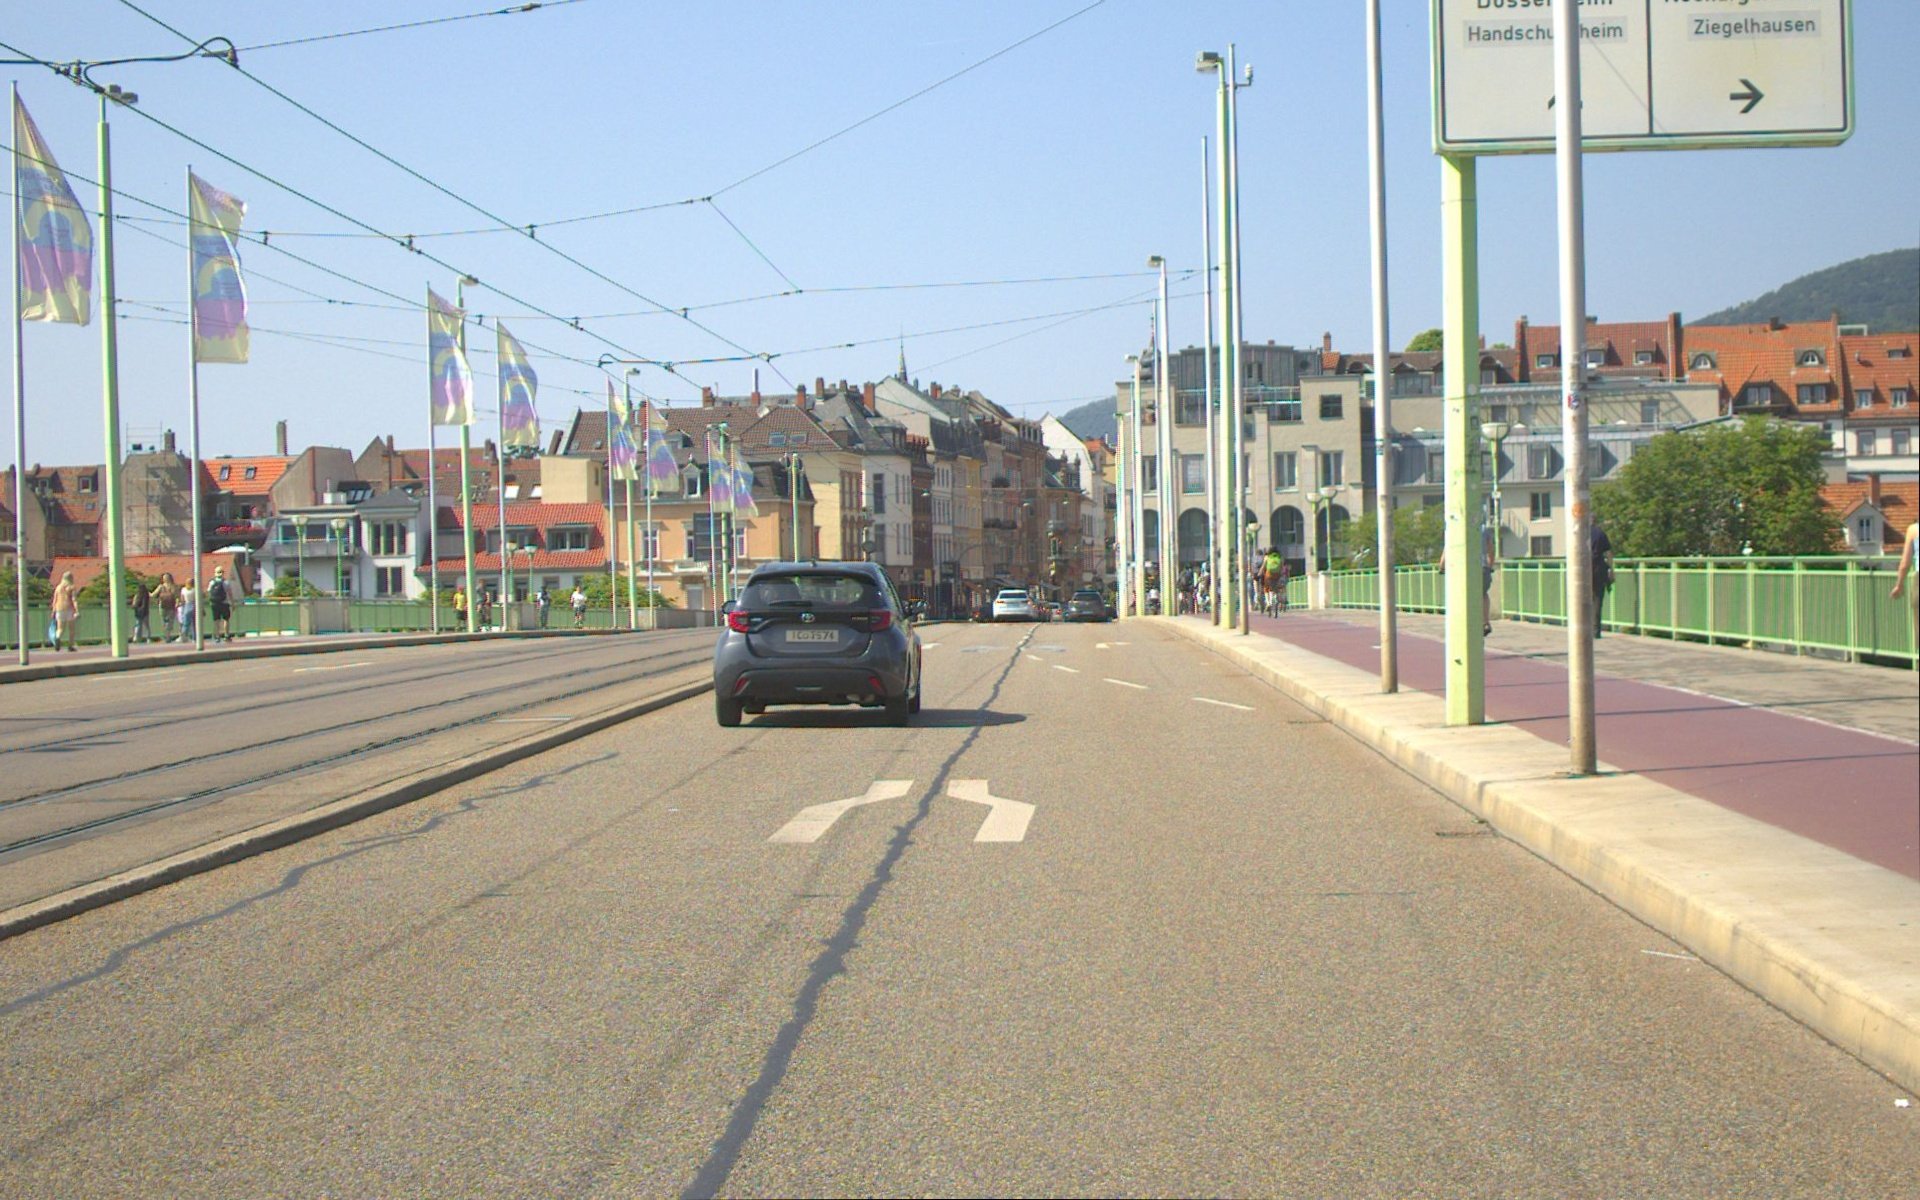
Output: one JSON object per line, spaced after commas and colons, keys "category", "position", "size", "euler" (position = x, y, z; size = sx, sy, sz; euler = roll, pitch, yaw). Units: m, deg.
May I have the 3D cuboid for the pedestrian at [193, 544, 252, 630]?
{"category": "pedestrian", "position": [-17.620, -0.318, 82.205], "size": [1.097, 2.007, 1.295], "euler": [-1, 1, -1]}

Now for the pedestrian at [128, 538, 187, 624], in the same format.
{"category": "pedestrian", "position": [-19.175, -0.466, 82.190], "size": [1.097, 2.007, 1.129], "euler": [-1, 1, -1]}

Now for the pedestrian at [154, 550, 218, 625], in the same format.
{"category": "pedestrian", "position": [-18.404, -0.305, 81.774], "size": [1.097, 1.723, 1.295], "euler": [2, 1, 5]}

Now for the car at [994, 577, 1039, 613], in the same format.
{"category": "car", "position": [2.488, -0.231, 152.287], "size": [1.804, 1.464, 4.000], "euler": [-3, 0, -1]}

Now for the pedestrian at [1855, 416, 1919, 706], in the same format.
{"category": "pedestrian", "position": [6.981, -0.282, 24.410], "size": [0.873, 2.007, 1.059], "euler": [-1, 0, -4]}

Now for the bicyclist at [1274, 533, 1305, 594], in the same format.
{"category": "bicyclist", "position": [8.973, -1.001, 93.689], "size": [0.735, 1.630, 0.867], "euler": [-1, 0, 0]}

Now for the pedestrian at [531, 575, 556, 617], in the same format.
{"category": "pedestrian", "position": [-17.223, -0.177, 142.291], "size": [0.830, 1.716, 1.094], "euler": [1, 1, 2]}

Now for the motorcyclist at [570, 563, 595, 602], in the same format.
{"category": "motorcyclist", "position": [-15.028, -0.707, 136.798], "size": [0.800, 1.544, 1.069], "euler": [-1, 0, 1]}

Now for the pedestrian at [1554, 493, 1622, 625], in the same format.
{"category": "pedestrian", "position": [8.447, -0.556, 46.240], "size": [0.654, 1.738, 0.978], "euler": [-1, 2, -4]}

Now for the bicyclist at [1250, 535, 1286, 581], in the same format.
{"category": "bicyclist", "position": [6.983, -0.951, 77.959], "size": [0.666, 1.041, 0.980], "euler": [0, 1, -3]}

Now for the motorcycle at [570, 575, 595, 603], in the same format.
{"category": "motorcycle", "position": [-15.008, -0.437, 136.787], "size": [0.701, 1.106, 2.179], "euler": [-1, 0, 1]}

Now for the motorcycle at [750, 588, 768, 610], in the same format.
{"category": "motorcycle", "position": [-10.077, -0.049, 172.043], "size": [0.701, 1.106, 2.179], "euler": [-1, 0, 1]}

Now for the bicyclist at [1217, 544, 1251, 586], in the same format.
{"category": "bicyclist", "position": [6.824, -0.862, 85.713], "size": [0.735, 1.027, 1.175], "euler": [-1, 0, 0]}

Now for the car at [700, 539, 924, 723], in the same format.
{"category": "car", "position": [-1.317, 0.235, 32.120], "size": [1.910, 1.535, 4.000], "euler": [-2, 1, -1]}

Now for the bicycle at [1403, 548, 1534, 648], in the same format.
{"category": "bicycle", "position": [5.930, -0.047, 40.344], "size": [0.792, 1.092, 3.745], "euler": [-2, 1, -3]}

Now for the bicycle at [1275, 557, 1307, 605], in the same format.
{"category": "bicycle", "position": [8.991, -0.526, 93.490], "size": [0.618, 1.266, 2.216], "euler": [-1, 0, 0]}

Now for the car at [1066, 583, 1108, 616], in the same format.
{"category": "car", "position": [6.011, -0.022, 162.492], "size": [1.804, 1.464, 3.999], "euler": [-3, 0, 4]}

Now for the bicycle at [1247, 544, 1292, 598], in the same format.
{"category": "bicycle", "position": [7.006, -0.653, 77.830], "size": [0.695, 1.189, 2.079], "euler": [-2, 0, -3]}

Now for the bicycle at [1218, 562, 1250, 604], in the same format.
{"category": "bicycle", "position": [6.835, -0.421, 85.750], "size": [0.618, 1.034, 2.051], "euler": [-1, 0, 0]}

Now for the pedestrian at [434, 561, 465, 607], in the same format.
{"category": "pedestrian", "position": [-18.526, -0.593, 124.837], "size": [0.899, 1.652, 1.028], "euler": [-1, 0, 4]}

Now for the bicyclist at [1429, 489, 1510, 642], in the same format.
{"category": "bicyclist", "position": [5.931, -0.403, 40.071], "size": [0.673, 1.738, 1.150], "euler": [-2, 1, -2]}

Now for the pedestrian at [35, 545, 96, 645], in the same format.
{"category": "pedestrian", "position": [-18.422, -0.110, 70.802], "size": [0.968, 2.007, 1.102], "euler": [-1, 1, -3]}
